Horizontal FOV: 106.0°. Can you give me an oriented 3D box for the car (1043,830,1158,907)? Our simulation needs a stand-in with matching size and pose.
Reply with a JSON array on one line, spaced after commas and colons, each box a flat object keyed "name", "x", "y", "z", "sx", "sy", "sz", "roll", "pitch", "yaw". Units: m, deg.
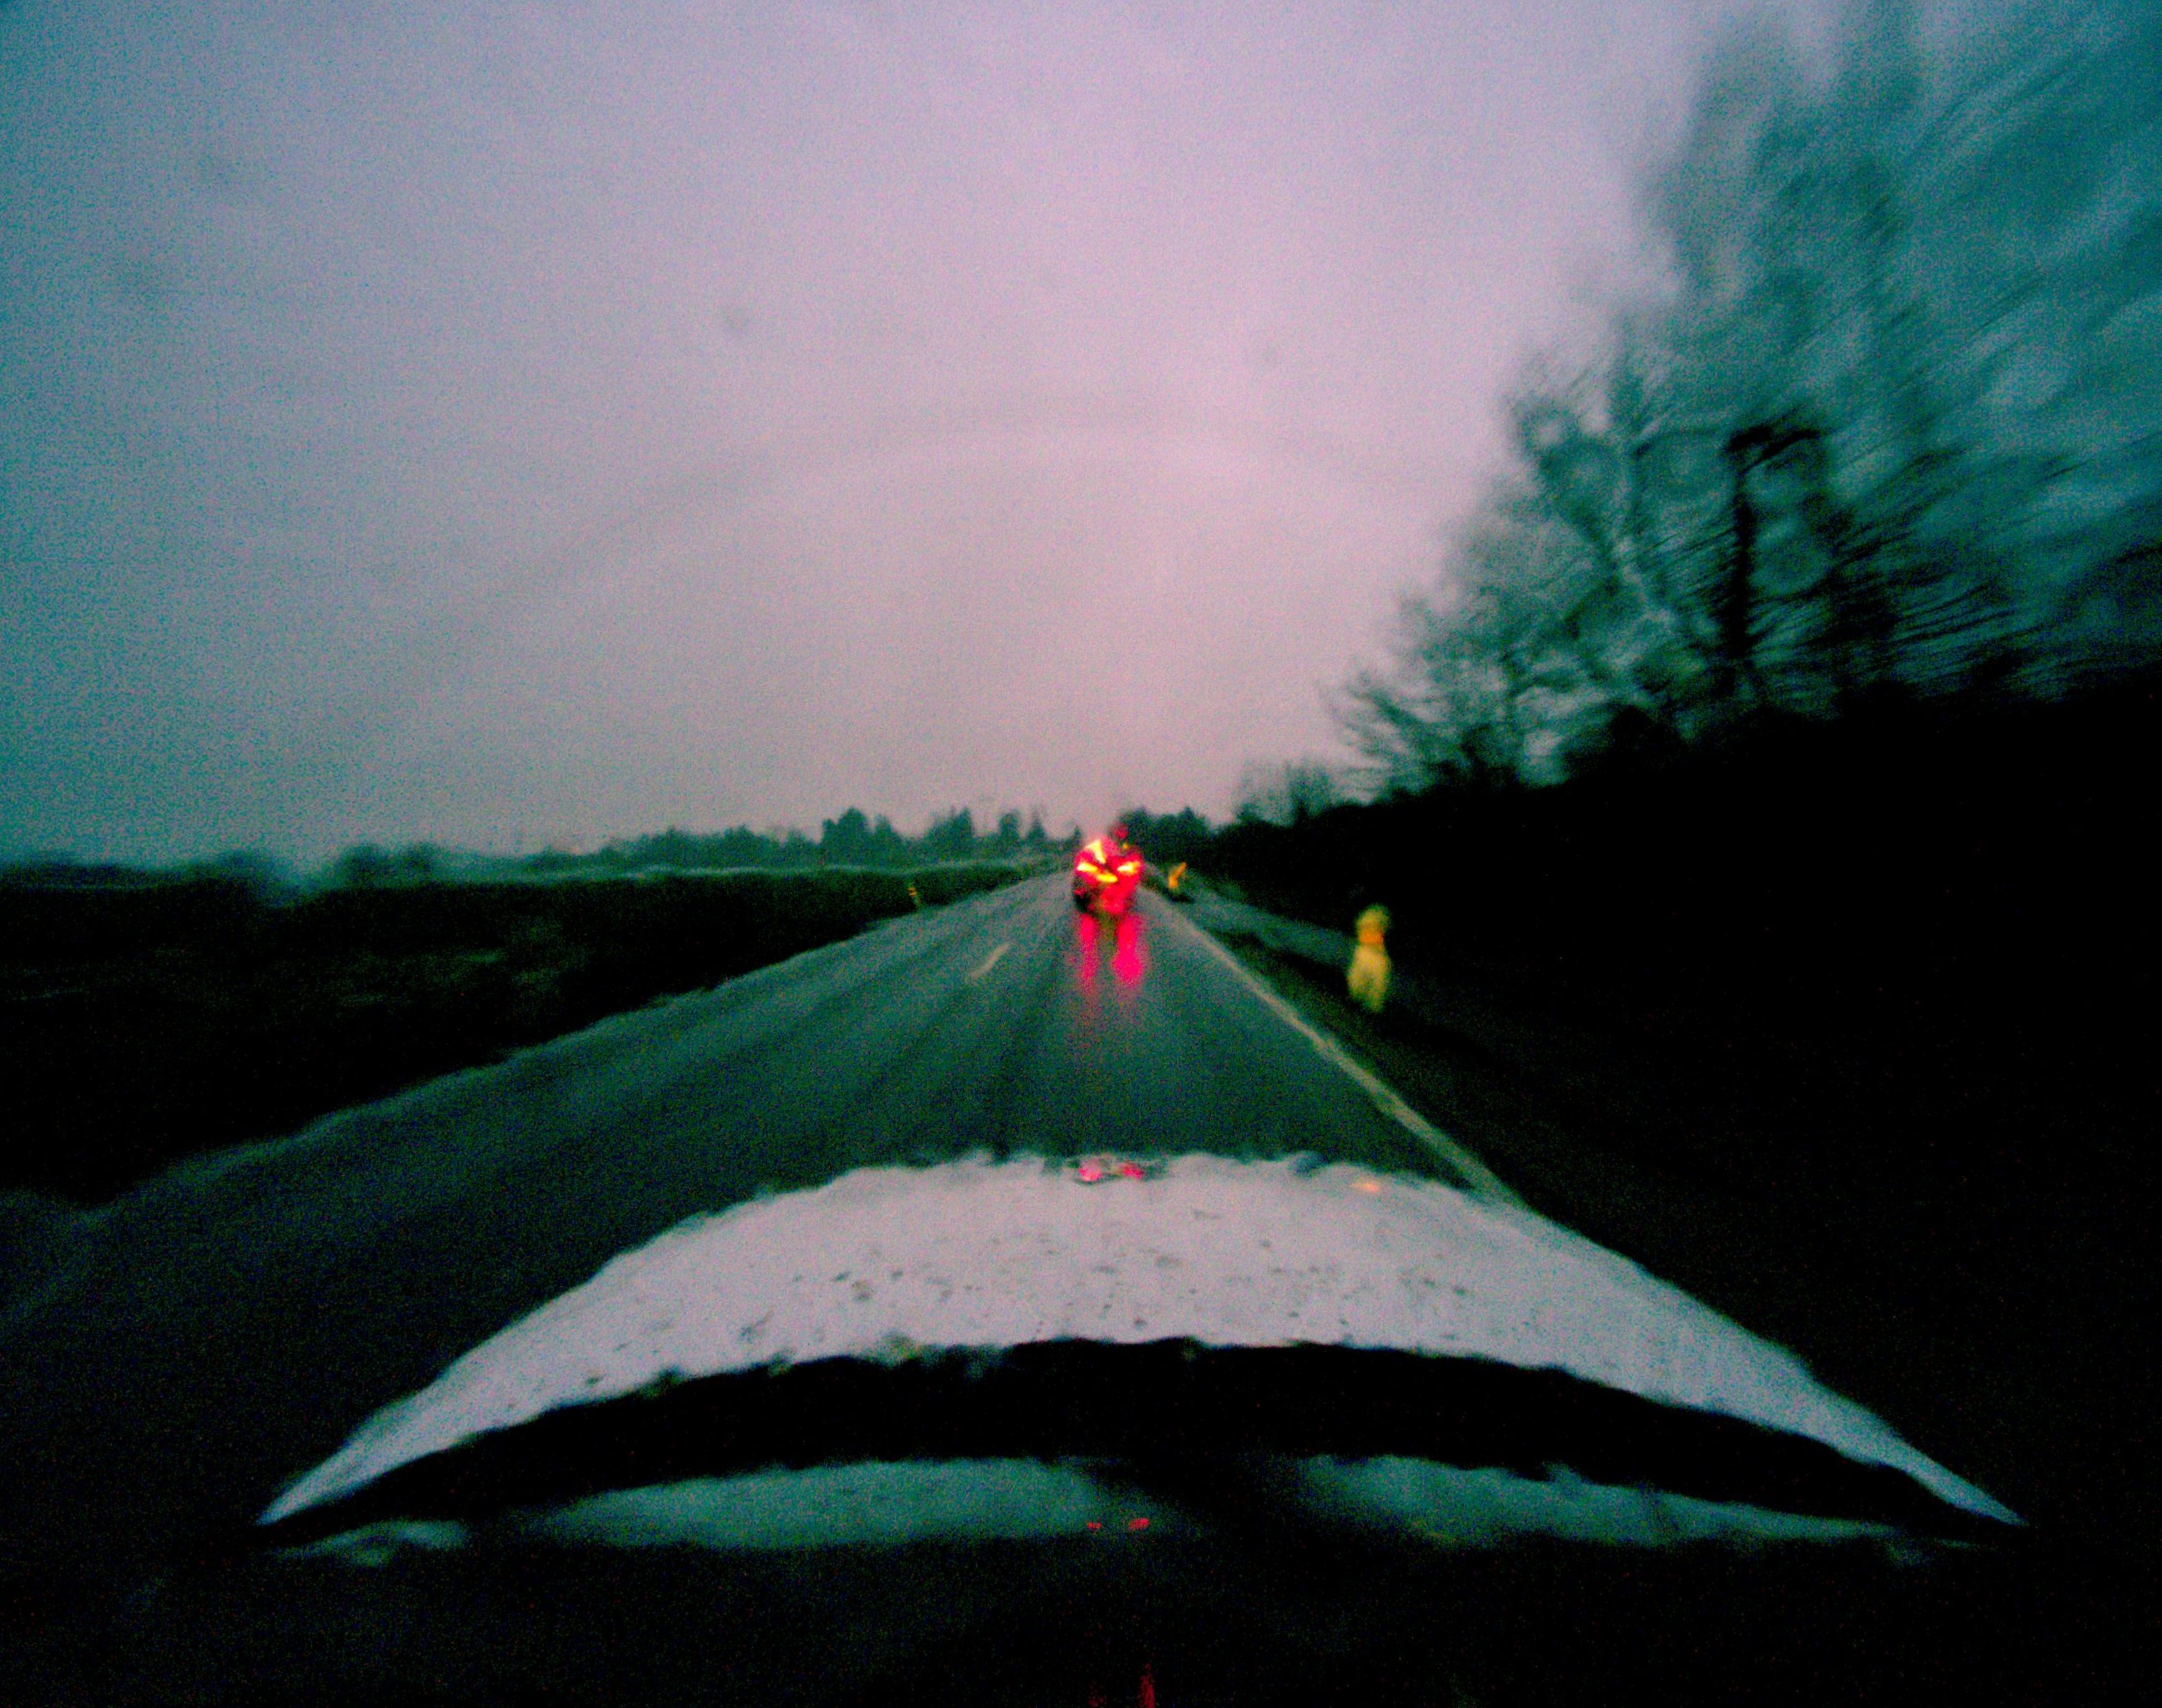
[{"name": "car", "x": 0.677, "y": 0.393, "z": 26.202, "sx": 3.152, "sy": 2.035, "sz": 6.855, "roll": -2, "pitch": 0, "yaw": 2}]

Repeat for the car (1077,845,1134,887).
[{"name": "car", "x": 1.351, "y": 0.575, "z": 44.117, "sx": 2.745, "sy": 2.035, "sz": 6.594, "roll": -2, "pitch": 0, "yaw": 2}]
